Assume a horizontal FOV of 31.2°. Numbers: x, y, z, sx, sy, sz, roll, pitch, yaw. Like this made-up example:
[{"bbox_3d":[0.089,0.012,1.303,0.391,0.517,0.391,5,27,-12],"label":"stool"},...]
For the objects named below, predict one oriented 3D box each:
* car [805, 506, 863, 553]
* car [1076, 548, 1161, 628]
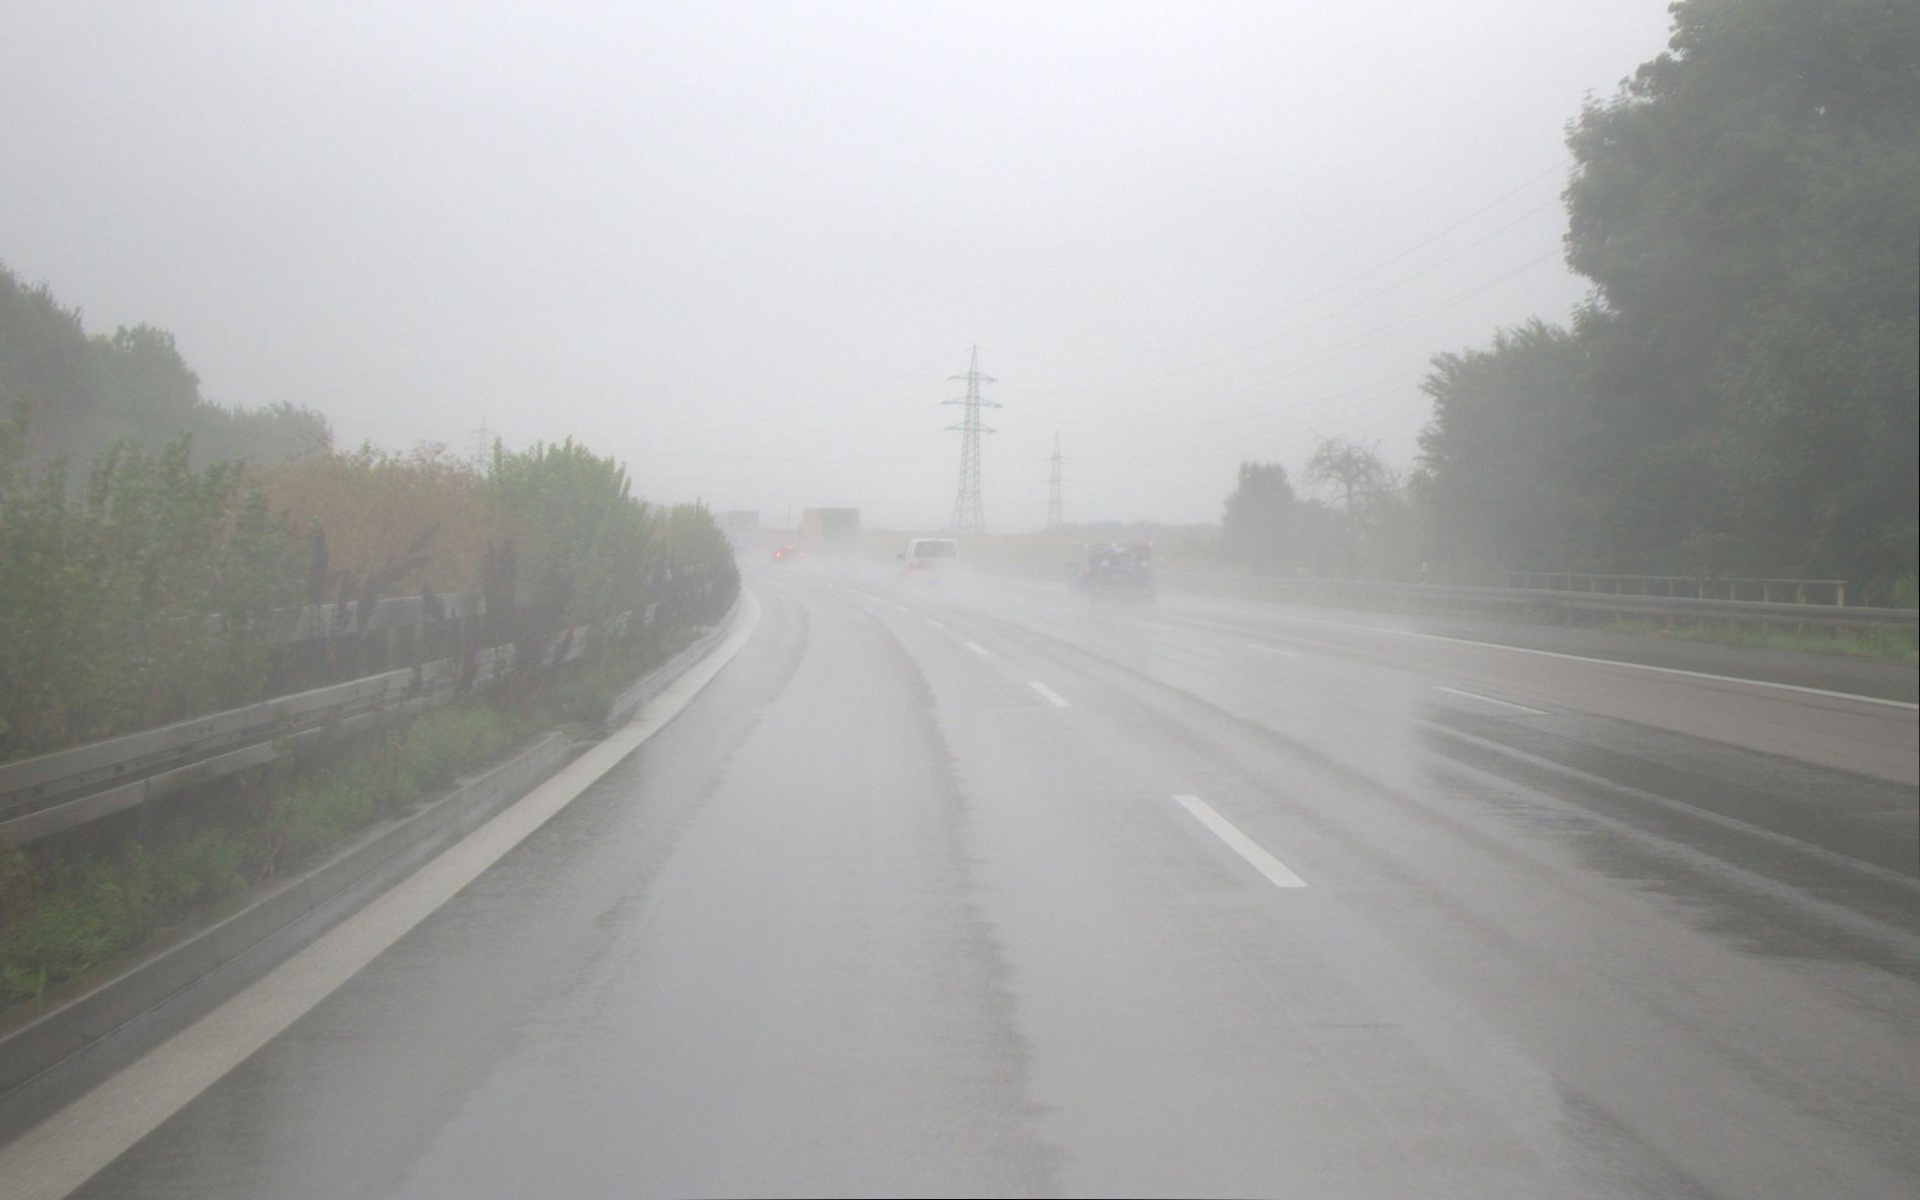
[{"bbox_3d":[-8.741,-4.864,238.020,3.199,3.182,7.259,1,1,-8],"label":"car"},{"bbox_3d":[4.421,-0.362,96.409,1.806,2.151,4.001,1,1,-5],"label":"car"}]
